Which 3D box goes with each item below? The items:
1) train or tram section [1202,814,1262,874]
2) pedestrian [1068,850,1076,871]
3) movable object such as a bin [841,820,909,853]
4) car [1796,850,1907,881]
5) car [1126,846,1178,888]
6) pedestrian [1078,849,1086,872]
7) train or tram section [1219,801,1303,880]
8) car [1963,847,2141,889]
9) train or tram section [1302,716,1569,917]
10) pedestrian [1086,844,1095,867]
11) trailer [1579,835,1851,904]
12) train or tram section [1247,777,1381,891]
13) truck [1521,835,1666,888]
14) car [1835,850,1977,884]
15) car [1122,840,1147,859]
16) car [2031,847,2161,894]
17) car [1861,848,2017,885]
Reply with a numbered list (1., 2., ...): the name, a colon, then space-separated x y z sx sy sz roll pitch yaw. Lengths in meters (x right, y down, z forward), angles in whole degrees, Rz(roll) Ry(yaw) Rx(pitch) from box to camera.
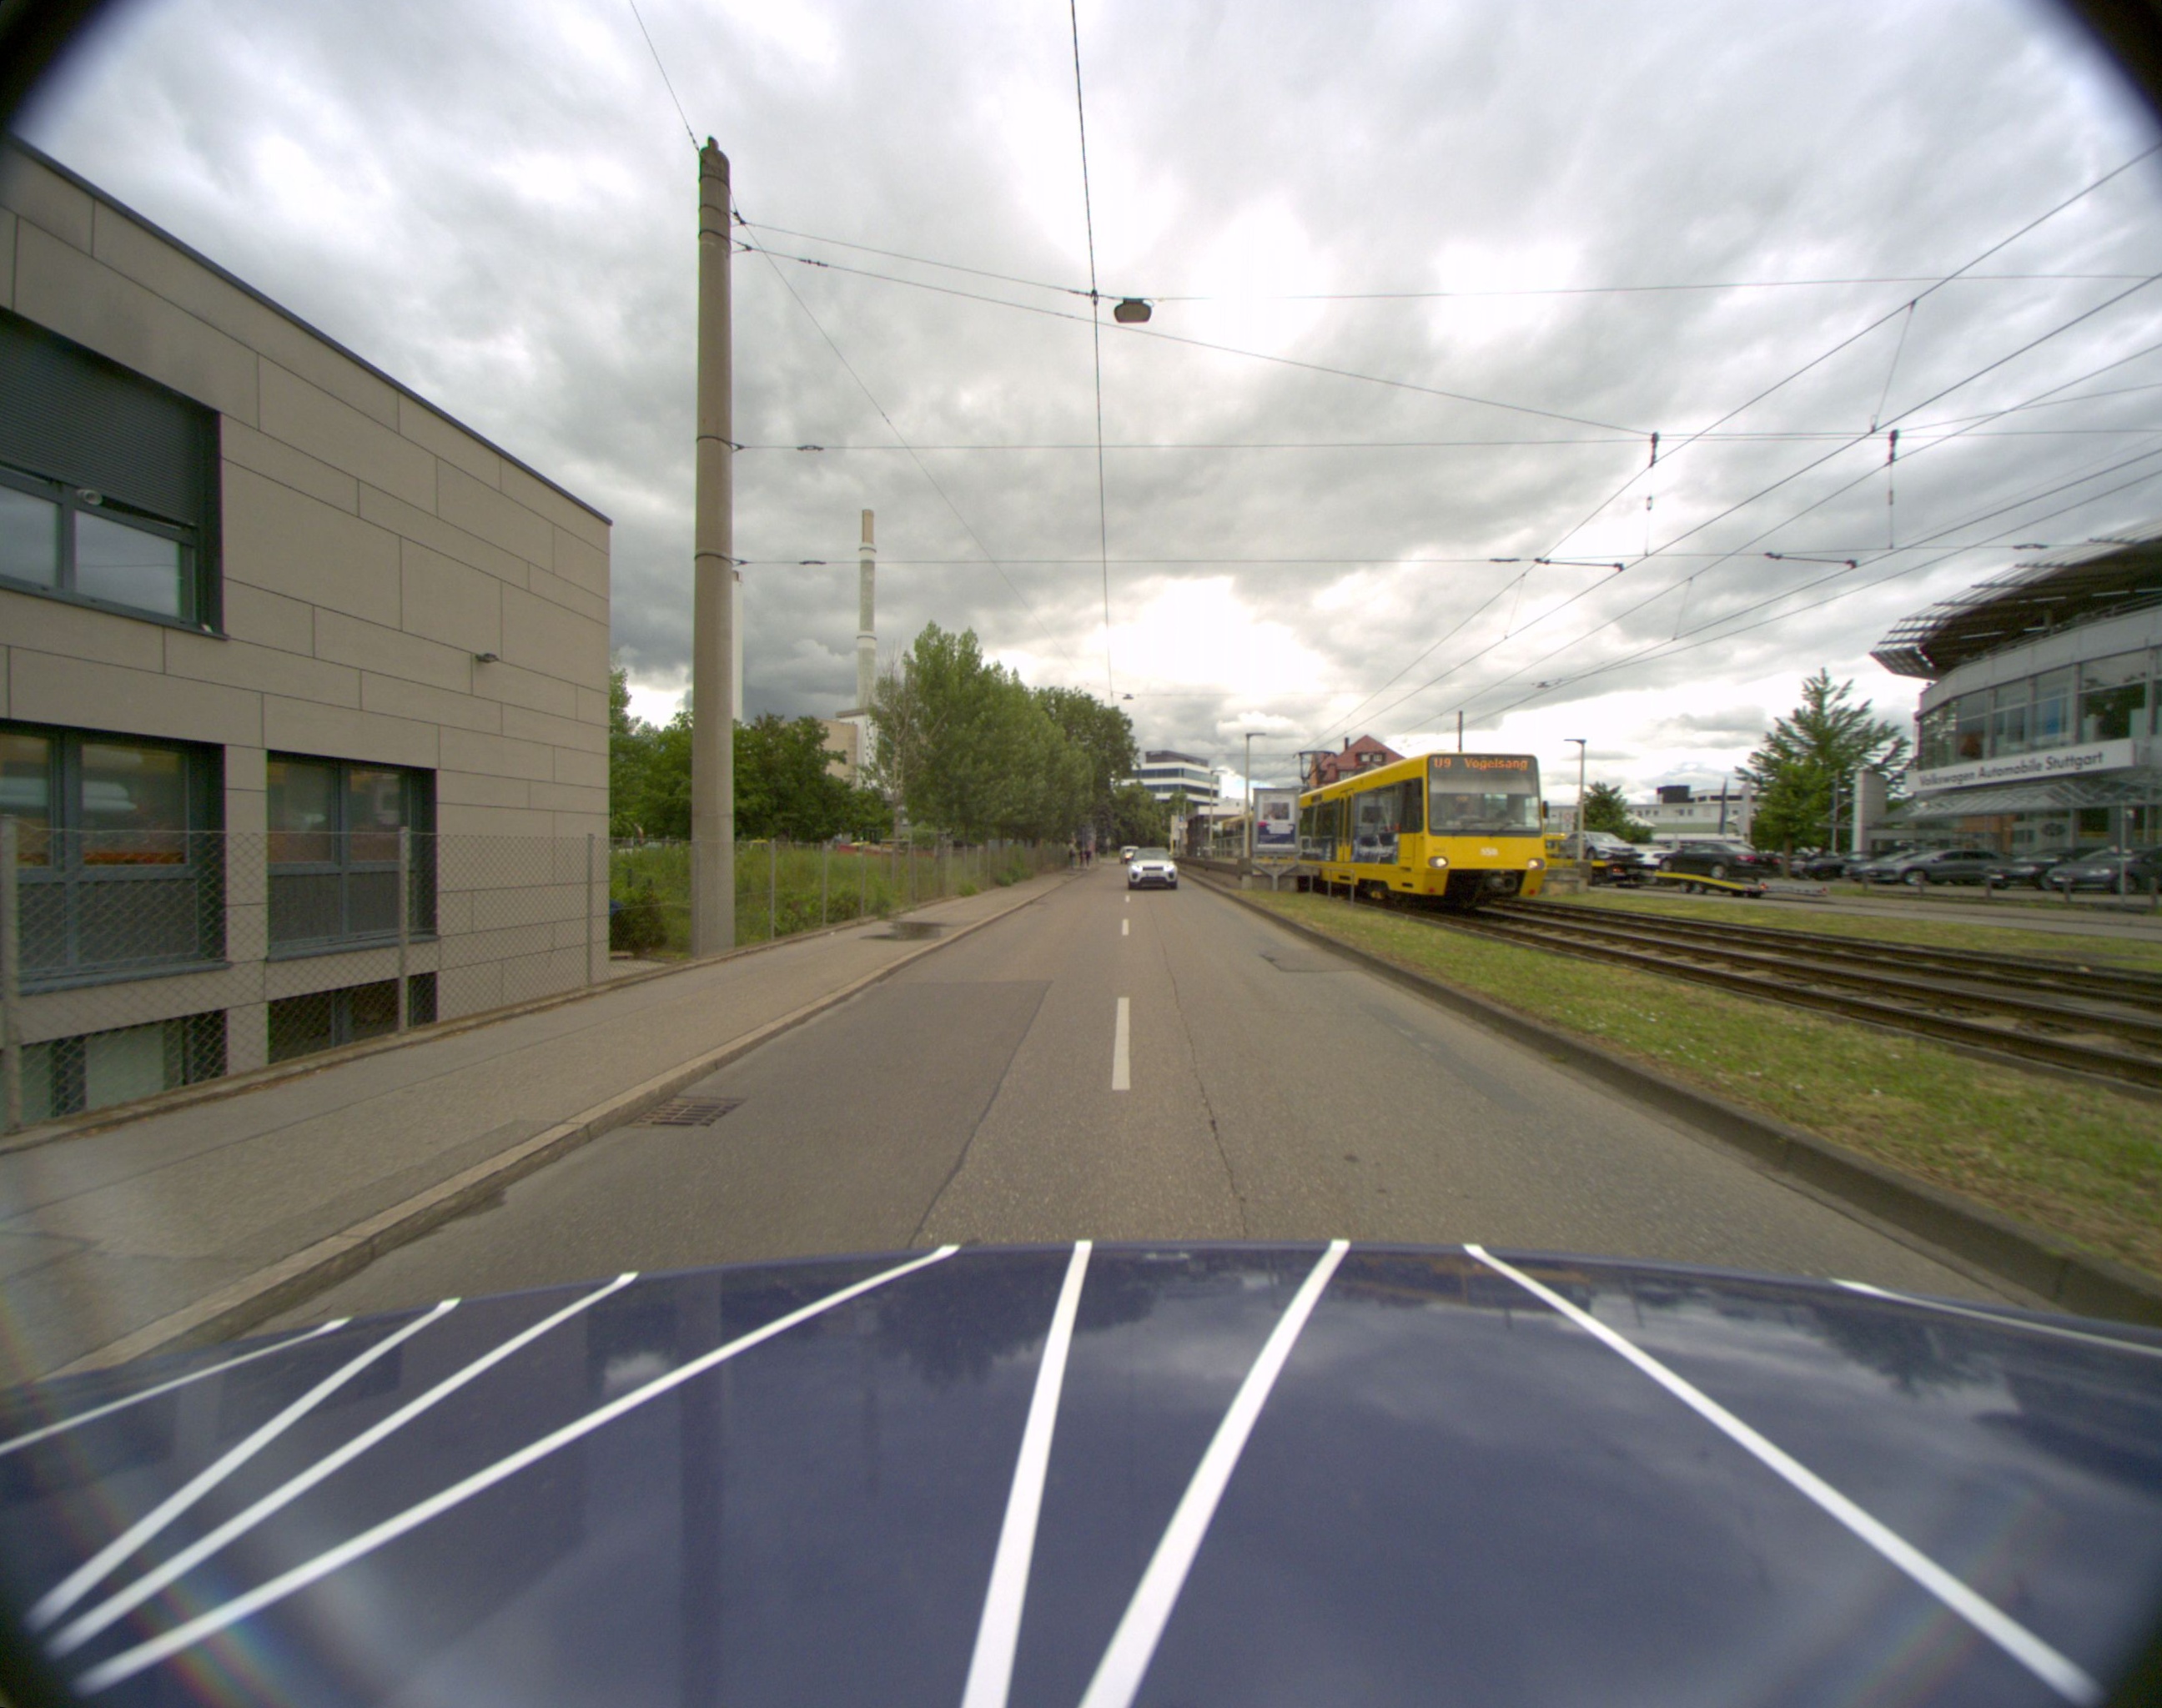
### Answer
1. train or tram section: 10.950 -0.617 56.293 2.747 3.943 11.915 1 0 4
2. pedestrian: -0.720 0.506 62.156 0.603 1.681 0.671 1 5 5
3. movable object such as a bin: -13.995 -1.262 51.864 1.994 2.003 4.301 3 5 28
4. car: 40.184 0.570 39.730 3.988 1.477 1.800 1 1 45
5. car: 2.925 0.462 30.555 1.915 1.560 4.115 0 1 7
6. pedestrian: 0.077 0.545 61.883 0.603 1.857 0.672 1 2 5
7. train or tram section: 10.178 -0.659 44.359 2.747 3.943 11.915 1 0 4
8. car: 35.214 0.482 27.646 3.996 1.477 1.796 0 1 2
9. train or tram section: 8.637 -0.753 20.491 2.978 4.041 10.199 1 0 4
10. pedestrian: 0.771 0.110 61.213 0.603 1.858 0.671 1 5 5
11. trailer: 24.690 0.452 30.680 2.861 2.307 10.023 0 1 2
12. train or tram section: 9.404 -0.679 32.426 2.747 3.943 11.915 1 0 4
13. truck: 24.868 0.291 37.339 2.835 2.383 6.454 0 1 1
14. car: 37.665 0.569 34.834 3.990 1.477 1.799 0 1 25
15. car: 5.647 -0.476 80.712 2.040 2.007 4.537 0 1 -3
16. car: 34.246 0.502 24.763 3.995 1.477 1.796 0 1 5
17. car: 36.385 0.506 32.373 3.990 1.477 1.799 0 1 25
